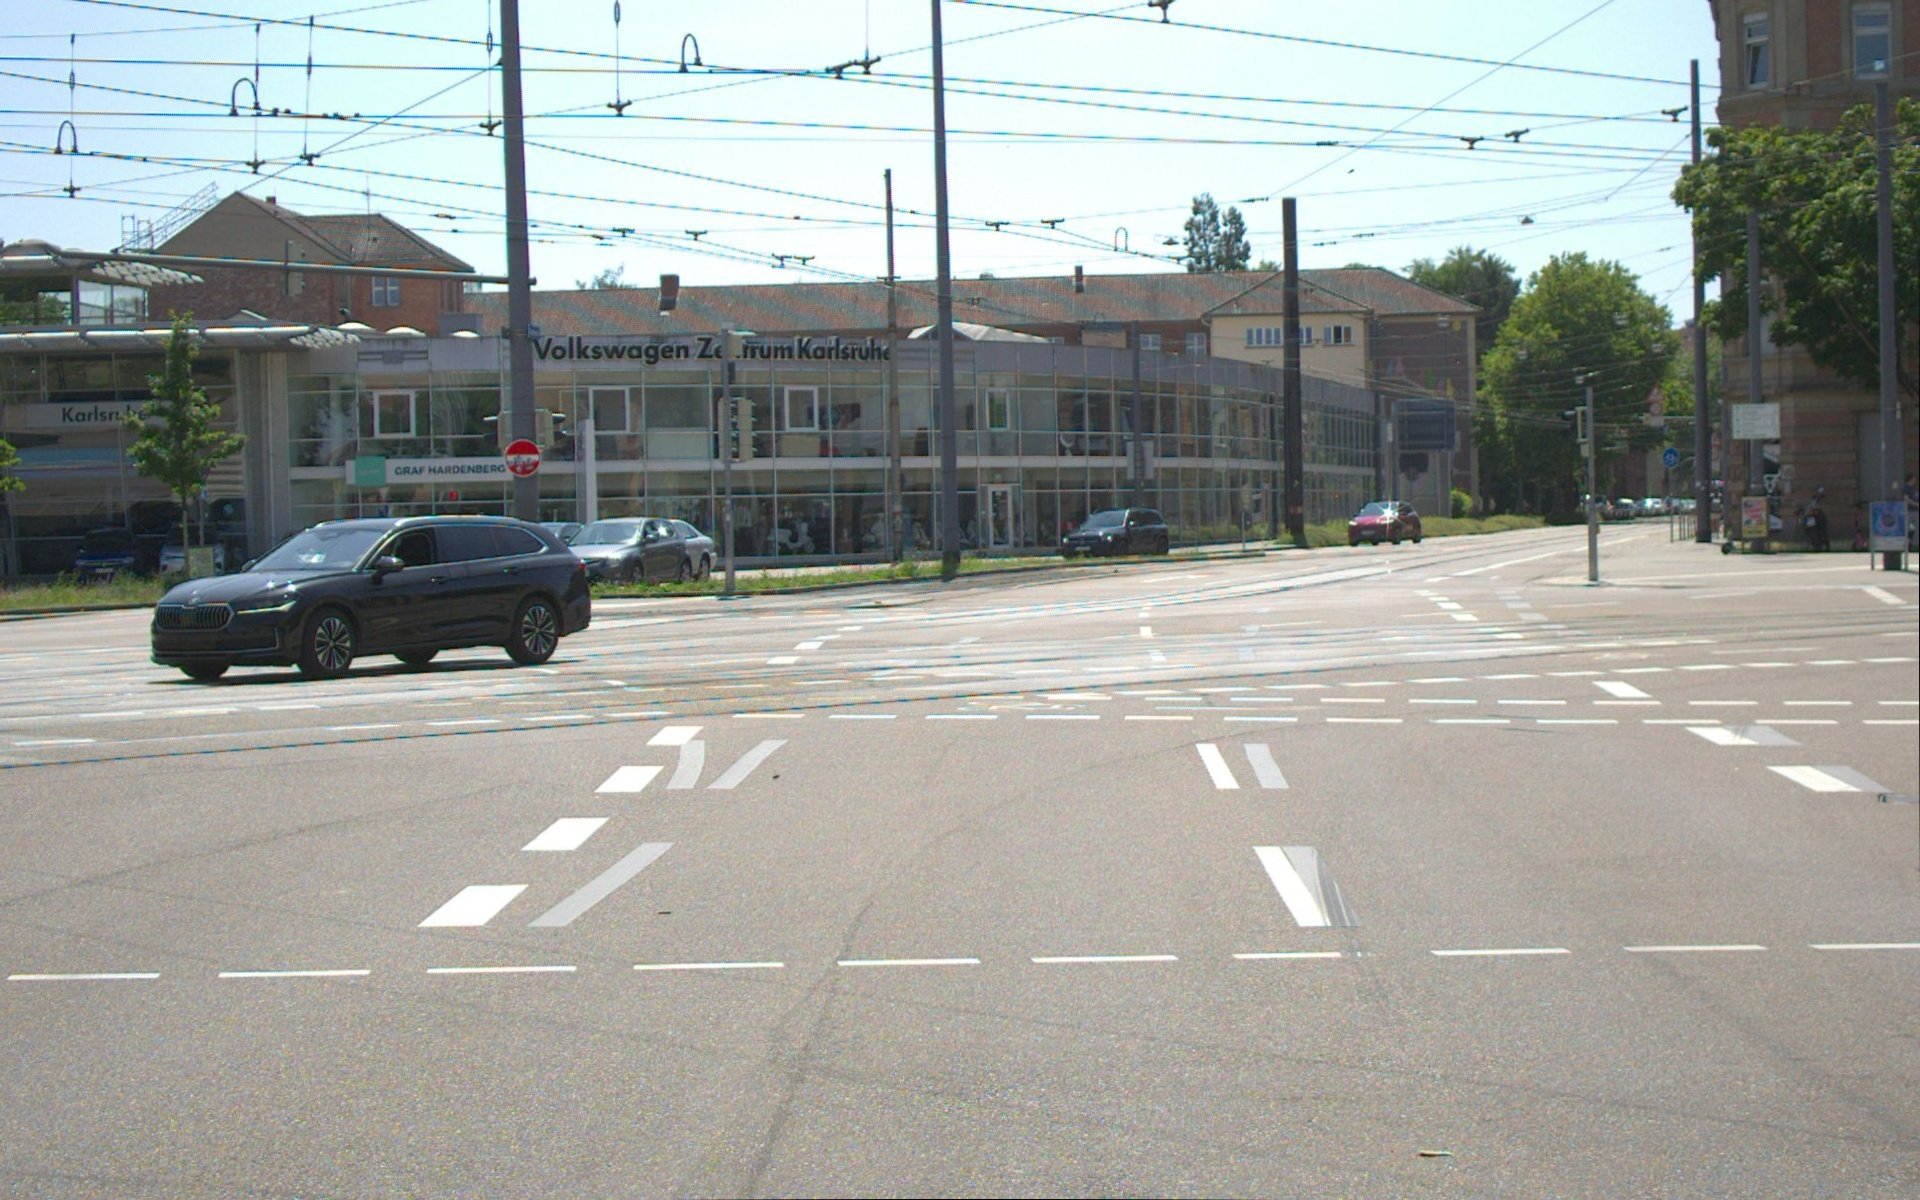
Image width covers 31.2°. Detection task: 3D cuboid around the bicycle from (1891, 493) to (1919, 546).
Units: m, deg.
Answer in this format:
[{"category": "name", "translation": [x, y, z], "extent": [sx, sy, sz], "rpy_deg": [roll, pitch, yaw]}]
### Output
[{"category": "bicycle", "translation": [19.664, -1.622, 68.641], "extent": [2.105, 1.049, 0.693], "rpy_deg": [-2, 1, -25]}]

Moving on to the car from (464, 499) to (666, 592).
[{"category": "car", "translation": [-7.339, -1.046, 64.405], "extent": [1.995, 1.631, 4.843], "rpy_deg": [-1, 2, 17]}]

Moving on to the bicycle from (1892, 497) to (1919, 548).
[{"category": "bicycle", "translation": [21.967, -1.788, 79.553], "extent": [0.442, 1.142, 2.093], "rpy_deg": [1, 1, 6]}]

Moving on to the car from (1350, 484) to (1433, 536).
[{"category": "car", "translation": [15.591, -3.236, 124.155], "extent": [1.996, 1.769, 3.995], "rpy_deg": [1, 1, 22]}]

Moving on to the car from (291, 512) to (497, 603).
[{"category": "car", "translation": [-10.525, -0.819, 64.299], "extent": [2.078, 1.574, 4.844], "rpy_deg": [-1, 2, 13]}]

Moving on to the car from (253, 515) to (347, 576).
[{"category": "car", "translation": [-19.162, -1.570, 99.943], "extent": [1.920, 1.701, 4.000], "rpy_deg": [1, 1, 0]}]

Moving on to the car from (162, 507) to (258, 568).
[{"category": "car", "translation": [-21.819, -1.806, 100.137], "extent": [1.920, 1.701, 4.000], "rpy_deg": [1, 1, 0]}]

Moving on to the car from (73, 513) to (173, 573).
[{"category": "car", "translation": [-24.377, -1.647, 100.294], "extent": [1.920, 1.701, 4.000], "rpy_deg": [1, 1, 0]}]

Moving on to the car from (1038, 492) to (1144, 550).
[{"category": "car", "translation": [4.023, -2.435, 104.932], "extent": [2.080, 1.677, 4.843], "rpy_deg": [-1, 2, 17]}]

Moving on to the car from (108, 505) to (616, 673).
[{"category": "car", "translation": [-5.669, -0.150, 33.207], "extent": [1.997, 1.460, 4.837], "rpy_deg": [0, 2, 34]}]

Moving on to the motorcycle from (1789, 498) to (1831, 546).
[{"category": "motorcycle", "translation": [19.584, -1.804, 79.209], "extent": [0.580, 1.071, 1.946], "rpy_deg": [-1, 1, 3]}]
